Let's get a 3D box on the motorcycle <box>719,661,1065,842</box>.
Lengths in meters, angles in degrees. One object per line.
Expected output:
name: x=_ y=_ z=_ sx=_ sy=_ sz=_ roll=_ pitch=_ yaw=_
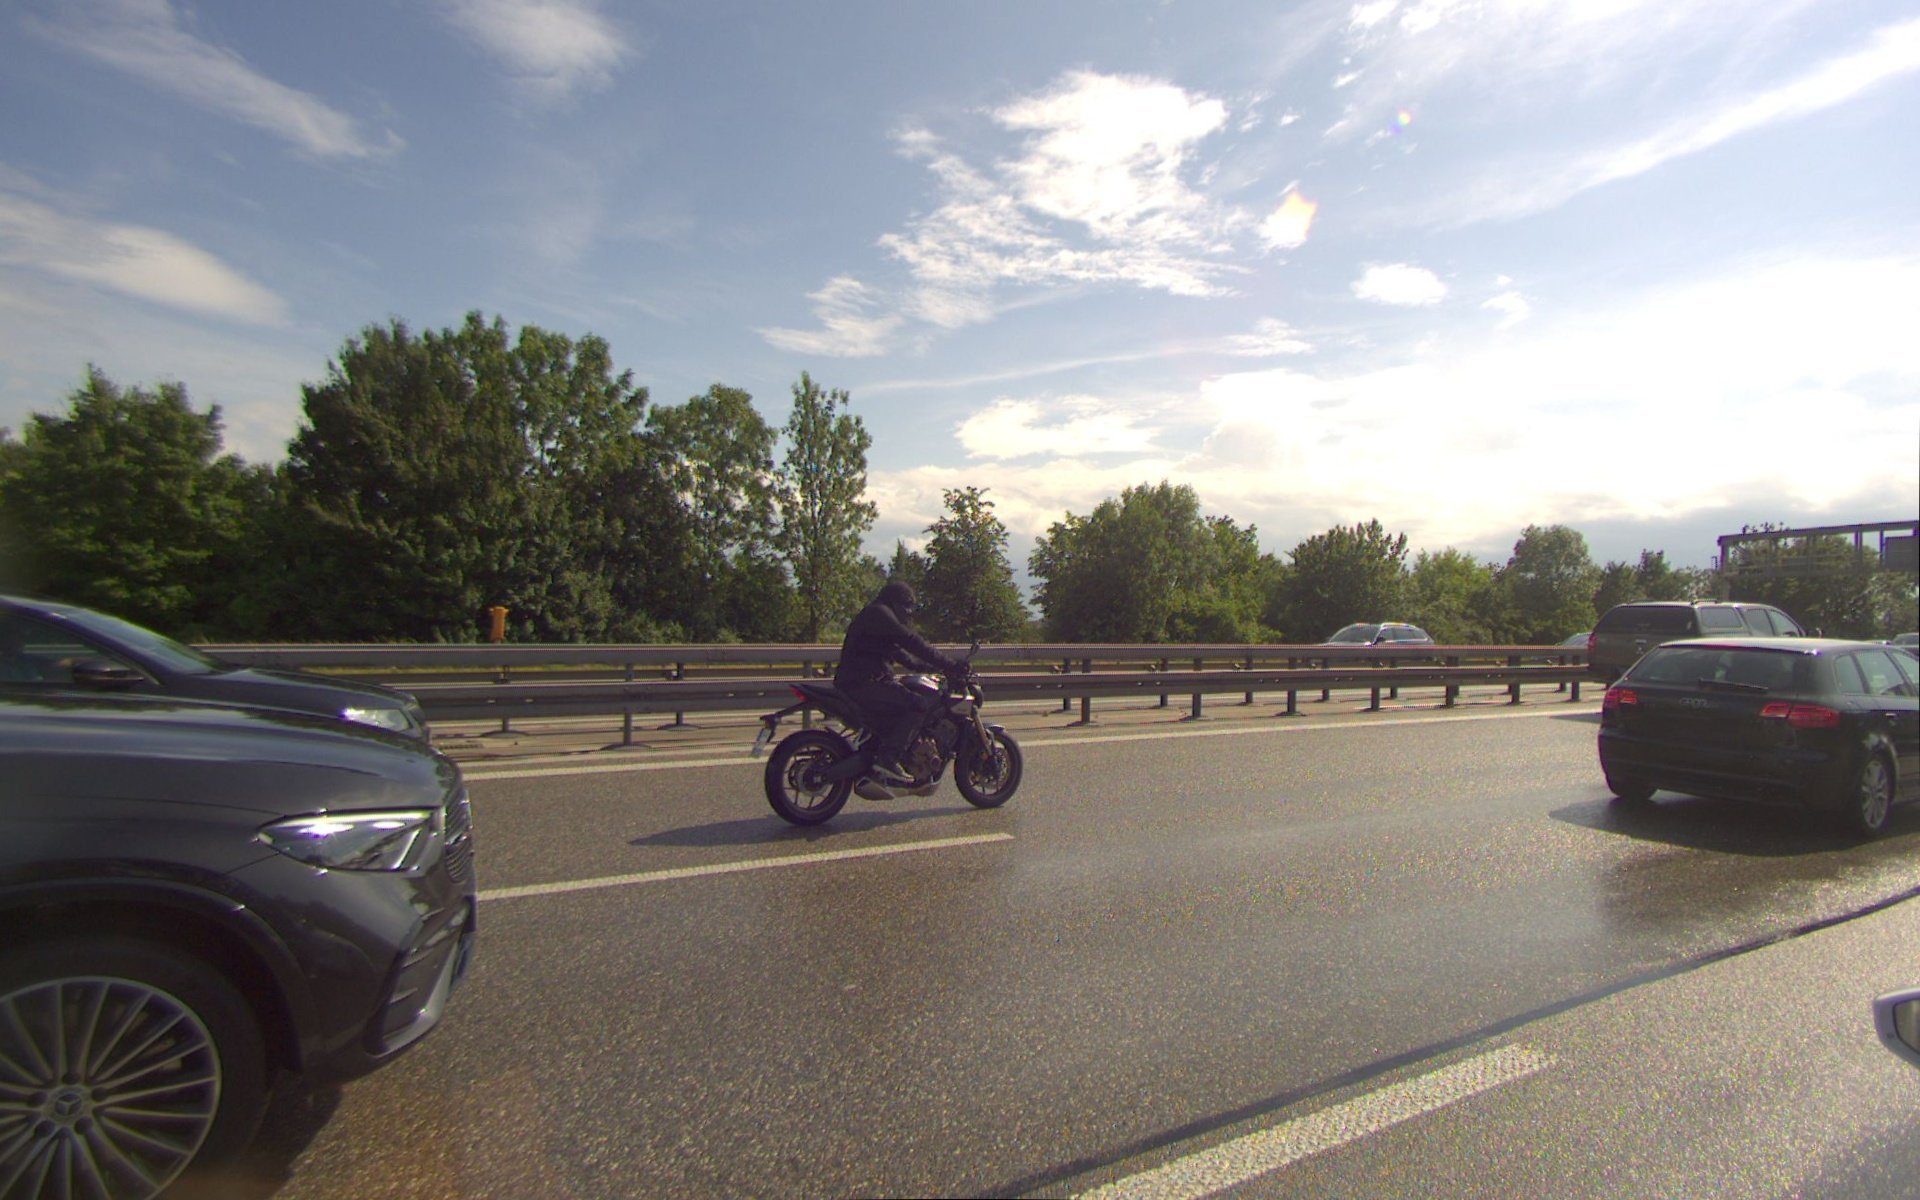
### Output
motorcycle: x=-0.423 y=0.981 z=7.039 sx=2.361 sy=1.041 sz=0.687 roll=1 pitch=0 yaw=-31

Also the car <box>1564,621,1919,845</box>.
car: x=7.095 y=0.946 z=8.449 sx=4.006 sy=1.452 sz=1.742 roll=1 pitch=0 yaw=-30

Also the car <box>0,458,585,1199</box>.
car: x=-3.414 y=0.534 z=2.260 sx=4.572 sy=1.701 sz=1.867 roll=1 pitch=0 yaw=-30

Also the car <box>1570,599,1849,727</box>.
car: x=12.726 y=0.987 z=16.945 sx=5.353 sy=1.869 sz=1.798 roll=1 pitch=0 yaw=-30

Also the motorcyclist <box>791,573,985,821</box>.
motorcyclist: x=-0.504 y=0.620 z=6.942 sx=1.080 sy=1.558 sz=0.792 roll=1 pitch=0 yaw=-31

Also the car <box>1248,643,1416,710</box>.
car: x=10.700 y=2.129 z=28.770 sx=4.771 sy=1.707 sz=1.983 roll=2 pitch=0 yaw=-31

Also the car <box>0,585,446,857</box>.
car: x=-5.615 y=0.638 z=6.108 sx=4.322 sy=1.444 sz=1.910 roll=2 pitch=-1 yaw=-31
